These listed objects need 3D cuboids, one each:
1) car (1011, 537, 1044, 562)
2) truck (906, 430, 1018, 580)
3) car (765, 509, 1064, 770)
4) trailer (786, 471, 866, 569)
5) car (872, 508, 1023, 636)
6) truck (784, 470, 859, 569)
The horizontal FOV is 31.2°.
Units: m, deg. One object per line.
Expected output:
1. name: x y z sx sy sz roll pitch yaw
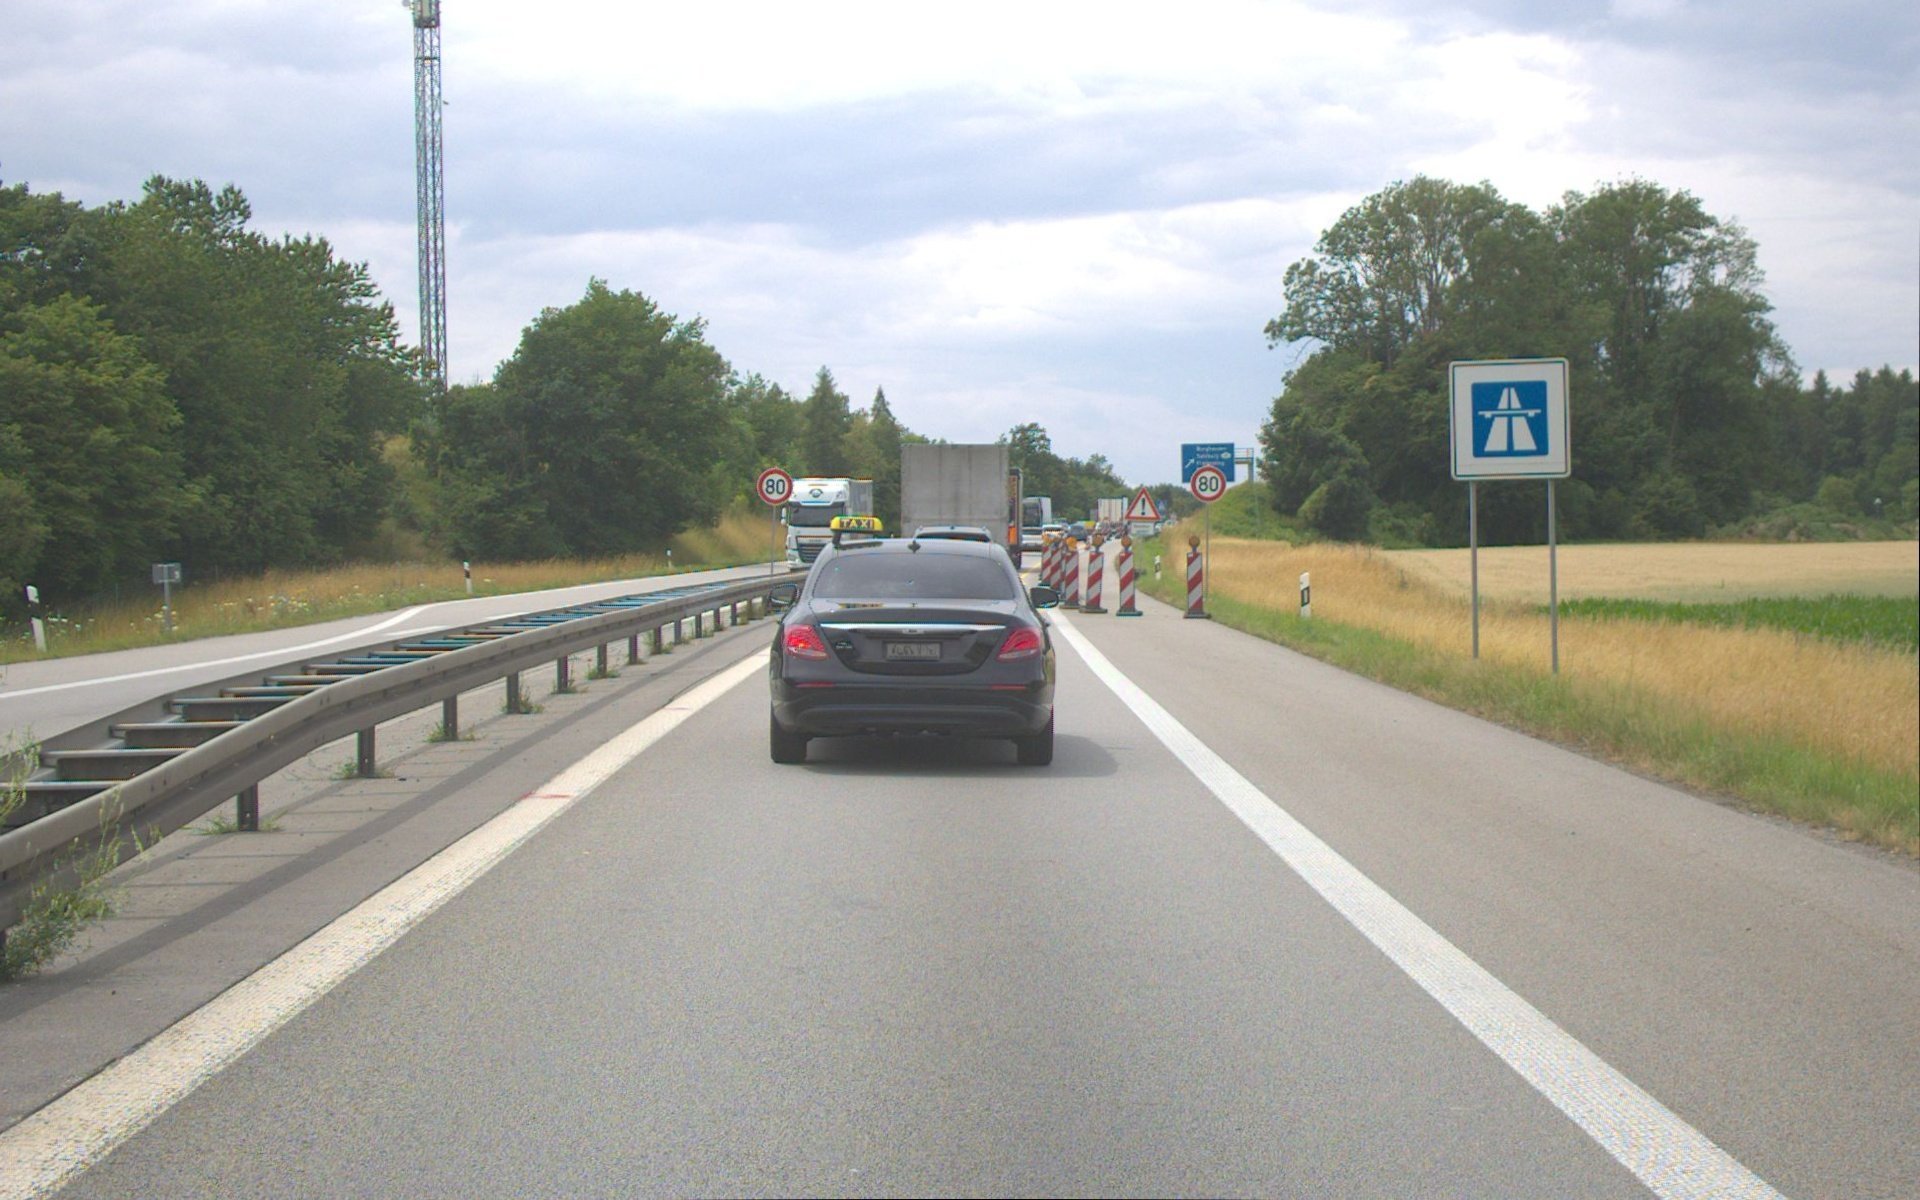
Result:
1. car: 3.893 -2.915 197.919 1.649 1.391 3.706 1 0 -3
2. truck: 0.044 -2.271 83.840 2.587 3.512 4.813 1 0 0
3. car: -0.294 0.224 22.939 1.795 1.554 4.000 1 0 -1
4. trailer: -5.921 -3.477 154.149 2.799 4.158 13.564 1 1 1
5. car: -0.249 -0.472 56.989 1.993 2.007 4.001 1 0 -7
6. truck: -5.939 -3.445 148.808 2.799 4.128 7.228 1 0 1
